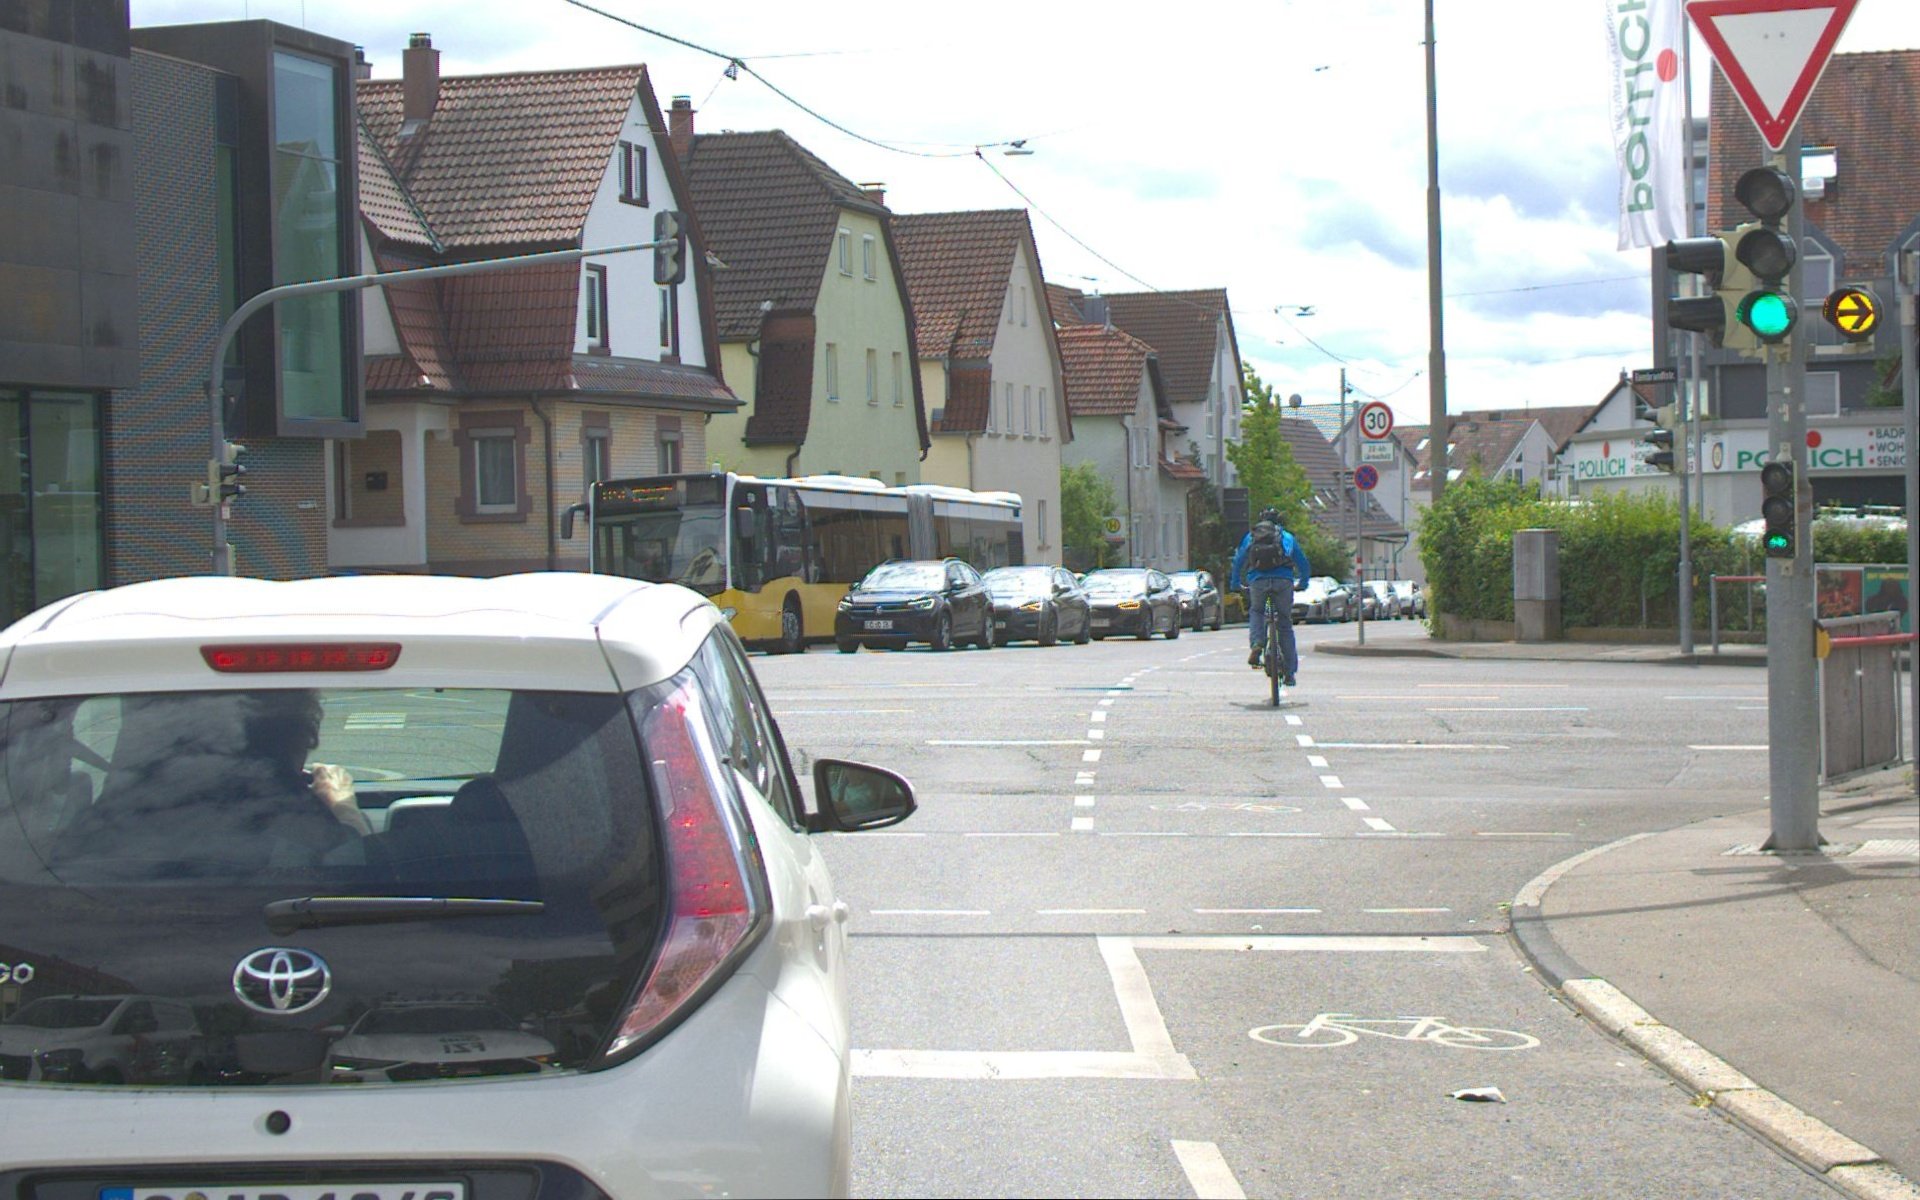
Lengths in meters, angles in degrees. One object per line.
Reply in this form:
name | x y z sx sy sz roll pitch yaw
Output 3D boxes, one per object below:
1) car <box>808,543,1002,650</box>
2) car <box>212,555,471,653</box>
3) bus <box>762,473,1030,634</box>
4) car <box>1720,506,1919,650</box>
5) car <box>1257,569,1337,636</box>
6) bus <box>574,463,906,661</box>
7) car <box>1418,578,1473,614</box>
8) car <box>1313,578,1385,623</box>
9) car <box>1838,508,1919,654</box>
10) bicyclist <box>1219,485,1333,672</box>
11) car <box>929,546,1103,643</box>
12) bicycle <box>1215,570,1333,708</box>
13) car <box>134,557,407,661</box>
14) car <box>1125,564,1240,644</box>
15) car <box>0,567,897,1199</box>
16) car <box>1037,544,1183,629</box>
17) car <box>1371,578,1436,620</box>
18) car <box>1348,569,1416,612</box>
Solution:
car | -0.834 -0.095 55.273 1.995 1.634 3.997 0 1 17
car | -10.810 0.060 60.175 3.989 1.678 1.999 0 1 14
bus | -1.089 -0.931 66.944 2.780 2.904 9.185 0 1 15
car | 13.187 -0.329 49.381 3.986 2.007 2.001 0 1 -8
car | 10.527 0.070 107.108 1.995 2.007 3.998 0 1 13
bus | -3.508 -0.677 57.979 2.780 3.049 9.185 0 1 15
car | 22.952 -0.184 162.389 1.995 1.634 3.997 0 1 17
car | 14.728 0.004 129.999 1.995 1.634 3.997 0 1 17
car | 14.311 -0.269 47.036 3.986 1.941 2.001 0 1 -9
bicyclist | 2.813 -0.195 30.690 0.840 1.609 1.083 2 1 -1
car | 1.025 -0.134 60.527 1.995 1.634 4.180 0 1 17
bicycle | 2.790 0.324 30.709 0.832 1.160 2.192 -1 1 0
car | -11.479 0.126 57.363 3.989 1.634 1.999 1 1 13
car | 5.885 0.083 90.411 1.995 2.007 3.996 0 1 20
car | -1.039 0.689 6.431 1.738 1.455 3.533 -1 1 -3
car | 3.037 -0.303 68.758 1.995 1.634 3.997 0 1 17
car | 18.251 -0.052 141.259 1.995 1.634 3.997 0 1 17
car | 16.670 -0.388 135.713 1.995 1.634 3.997 0 1 17
